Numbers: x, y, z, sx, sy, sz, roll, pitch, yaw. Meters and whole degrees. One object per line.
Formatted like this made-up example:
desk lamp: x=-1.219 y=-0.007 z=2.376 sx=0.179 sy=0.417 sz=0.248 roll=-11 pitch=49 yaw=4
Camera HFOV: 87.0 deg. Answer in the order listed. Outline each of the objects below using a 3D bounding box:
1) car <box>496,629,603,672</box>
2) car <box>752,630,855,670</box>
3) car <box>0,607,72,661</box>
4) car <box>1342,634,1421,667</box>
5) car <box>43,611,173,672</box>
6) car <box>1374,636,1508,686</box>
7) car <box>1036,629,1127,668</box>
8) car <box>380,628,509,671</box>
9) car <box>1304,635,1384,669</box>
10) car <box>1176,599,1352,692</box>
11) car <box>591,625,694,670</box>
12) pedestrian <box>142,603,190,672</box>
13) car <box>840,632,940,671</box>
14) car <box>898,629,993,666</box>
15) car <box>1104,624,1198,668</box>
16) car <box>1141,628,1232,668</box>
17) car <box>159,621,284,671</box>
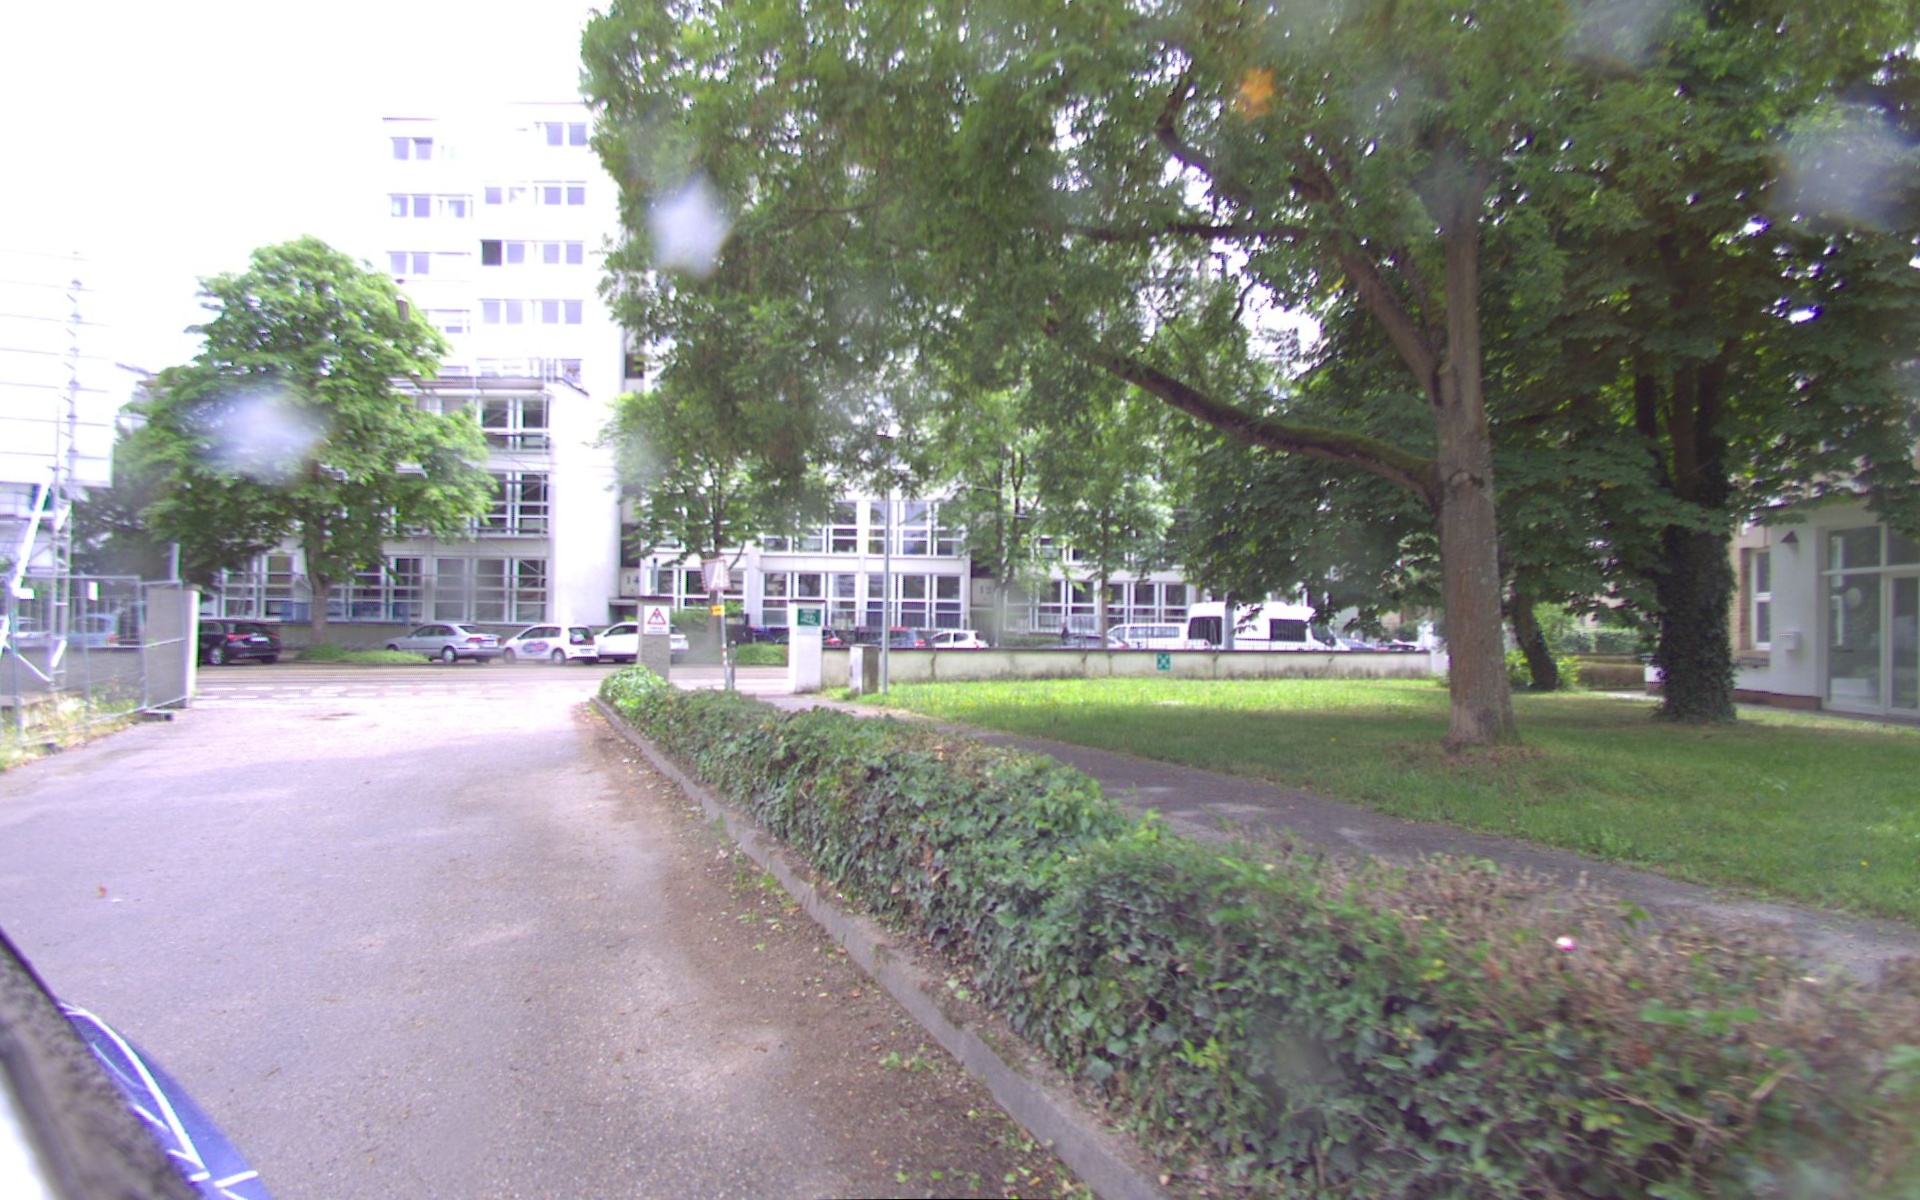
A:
car: x=-14.806 y=1.818 z=36.557 sx=3.366 sy=1.456 sz=1.642 roll=-1 pitch=-4 yaw=22
car: x=-6.342 y=2.020 z=41.146 sx=3.755 sy=1.517 sz=1.777 roll=0 pitch=-3 yaw=23
car: x=-28.429 y=0.970 z=29.879 sx=3.975 sy=1.497 sz=1.845 roll=0 pitch=0 yaw=24
car: x=22.750 y=2.732 z=54.728 sx=3.861 sy=1.687 sz=1.737 roll=0 pitch=-3 yaw=23
car: x=-26.179 y=1.249 z=31.101 sx=3.626 sy=1.760 sz=1.609 roll=0 pitch=-2 yaw=24
car: x=16.110 y=2.040 z=33.905 sx=4.070 sy=1.534 sz=1.918 roll=3 pitch=-3 yaw=-26
car: x=5.640 y=2.252 z=46.724 sx=4.042 sy=1.663 sz=1.783 roll=1 pitch=-3 yaw=12
car: x=-18.122 y=1.726 z=35.608 sx=3.966 sy=1.426 sz=1.713 roll=0 pitch=-3 yaw=17
car: x=20.183 y=2.734 z=53.216 sx=3.861 sy=1.687 sz=1.737 roll=0 pitch=-3 yaw=23
car: x=9.245 y=1.421 z=30.739 sx=4.993 sy=2.601 sz=2.101 roll=3 pitch=-3 yaw=-26
car: x=-11.948 y=1.798 z=38.139 sx=3.366 sy=1.615 sz=1.695 roll=-1 pitch=-4 yaw=22
pedestrian: x=-23.798 y=1.120 z=30.364 sx=0.845 sy=2.029 sz=0.934 roll=1 pitch=-2 yaw=-22
car: x=-2.904 y=2.140 z=42.188 sx=3.755 sy=1.517 sz=1.777 roll=0 pitch=-3 yaw=23
car: x=-0.630 y=2.071 z=44.020 sx=3.755 sy=1.517 sz=1.777 roll=0 pitch=-3 yaw=23
car: x=9.003 y=2.171 z=47.713 sx=4.057 sy=1.947 sz=1.777 roll=0 pitch=-3 yaw=23
car: x=11.041 y=2.344 z=49.278 sx=4.057 sy=1.820 sz=1.777 roll=0 pitch=-3 yaw=23
car: x=-23.537 y=1.439 z=32.267 sx=3.626 sy=1.438 sz=1.609 roll=0 pitch=-2 yaw=24
